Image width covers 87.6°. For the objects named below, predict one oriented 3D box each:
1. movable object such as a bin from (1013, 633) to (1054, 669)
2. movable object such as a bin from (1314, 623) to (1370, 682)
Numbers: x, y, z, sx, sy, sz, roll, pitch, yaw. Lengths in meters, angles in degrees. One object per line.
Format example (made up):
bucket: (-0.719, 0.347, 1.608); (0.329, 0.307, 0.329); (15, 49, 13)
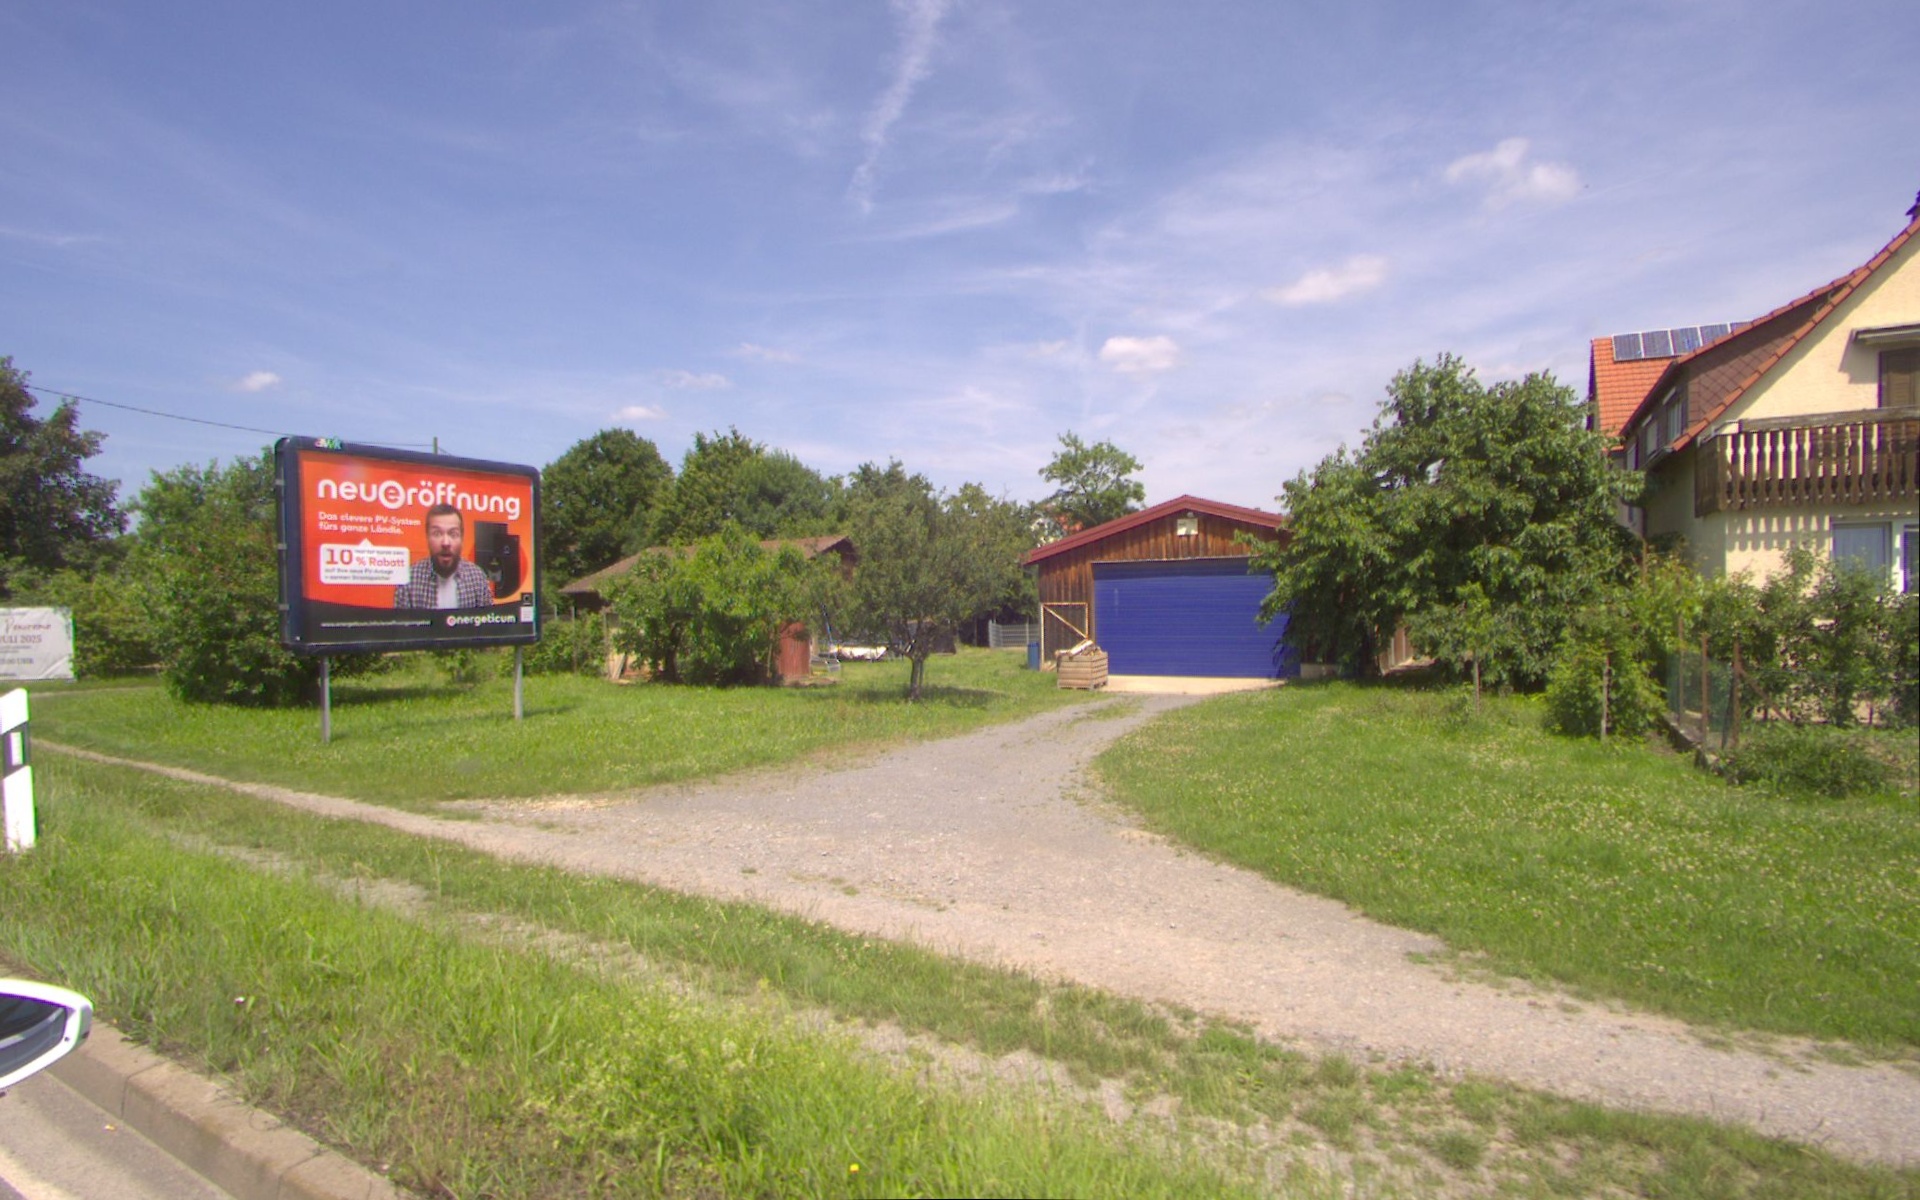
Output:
movable object such as a bin: (2.265, 1.560, 30.784); (1.044, 1.046, 1.040); (0, -1, 17)
movable object such as a bin: (9.483, 1.282, 24.853); (1.049, 1.415, 1.271); (0, -1, 33)
